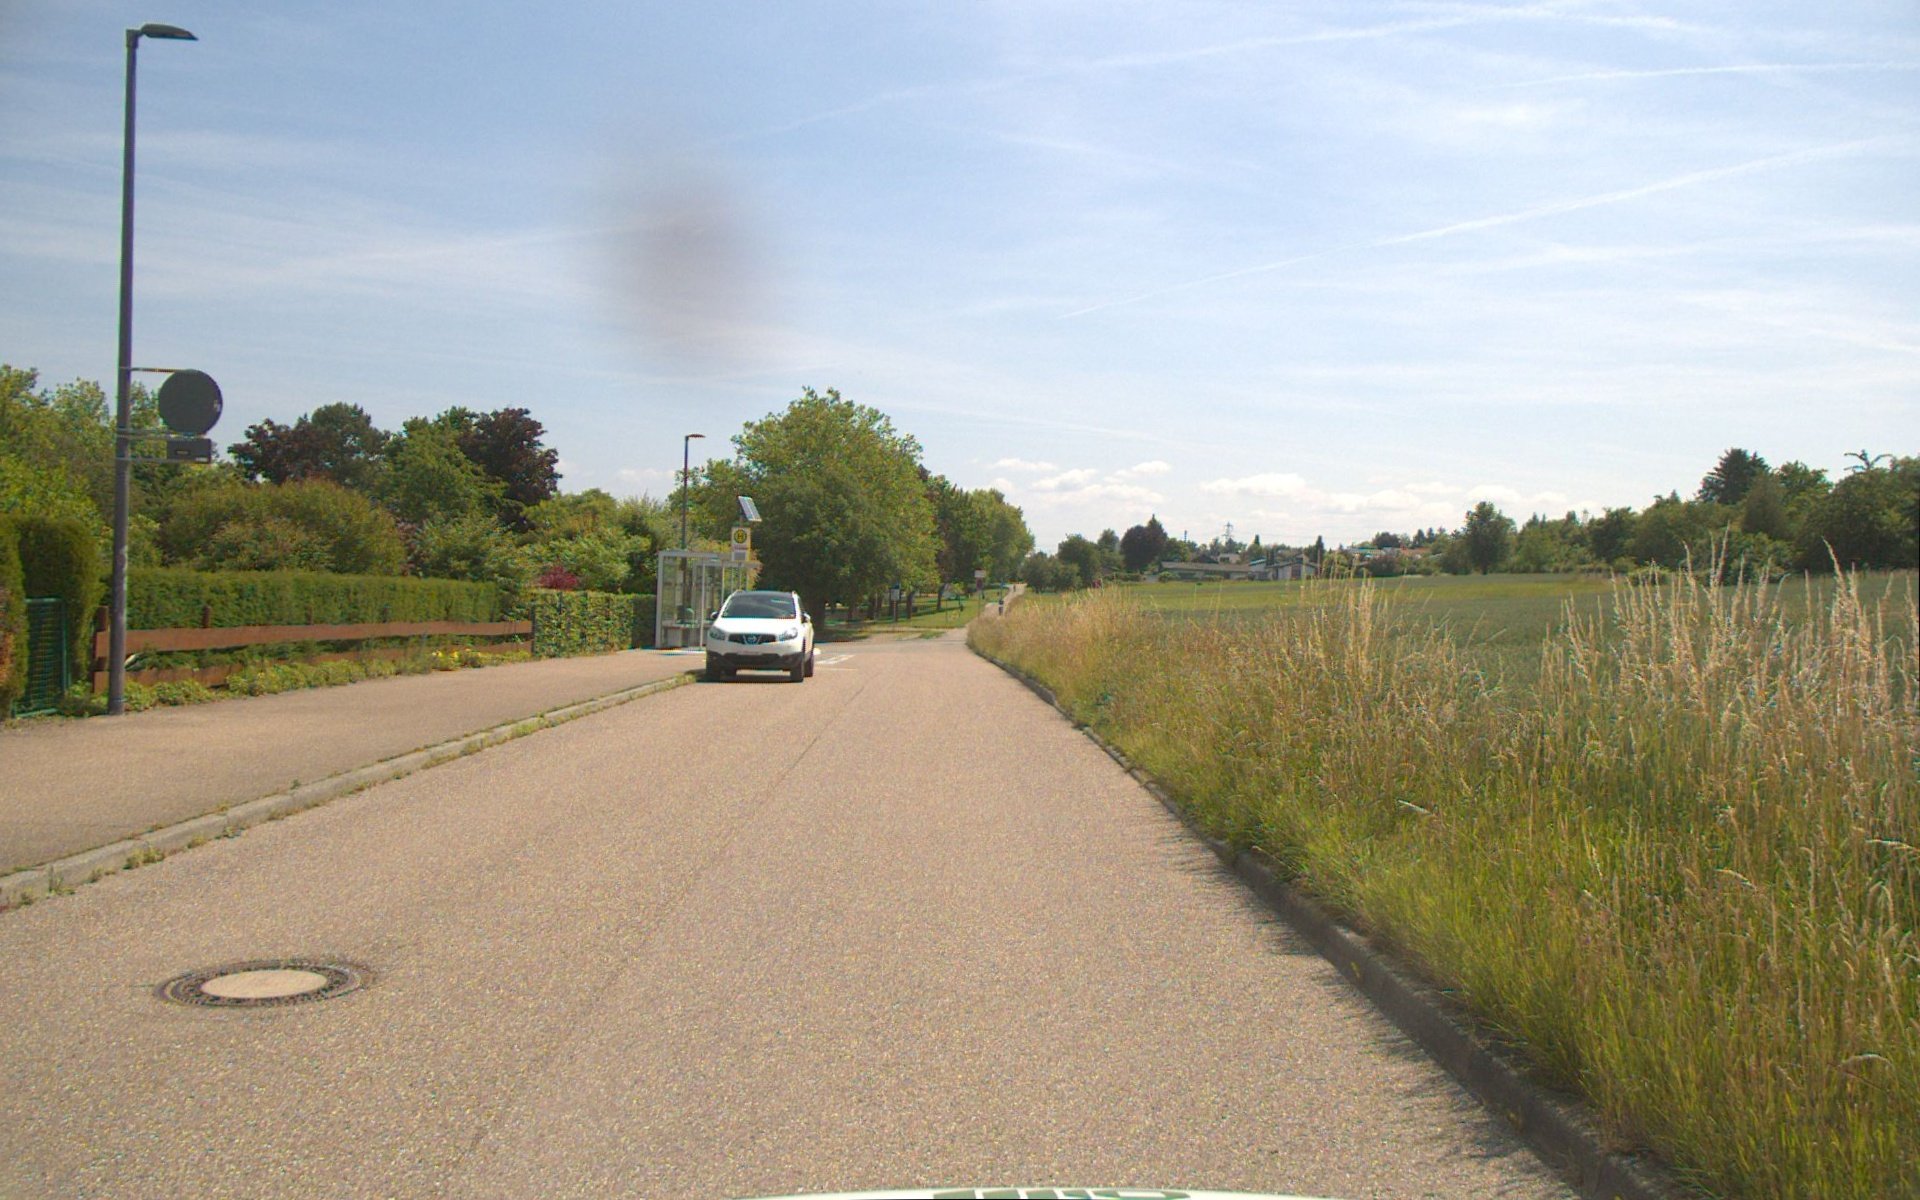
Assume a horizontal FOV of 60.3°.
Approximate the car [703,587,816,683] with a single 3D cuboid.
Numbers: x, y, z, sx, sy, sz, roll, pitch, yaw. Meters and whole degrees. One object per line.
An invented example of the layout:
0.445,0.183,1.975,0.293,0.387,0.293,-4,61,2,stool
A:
-3.702,0.643,31.174,1.699,1.662,4.350,1,-1,-2,car
